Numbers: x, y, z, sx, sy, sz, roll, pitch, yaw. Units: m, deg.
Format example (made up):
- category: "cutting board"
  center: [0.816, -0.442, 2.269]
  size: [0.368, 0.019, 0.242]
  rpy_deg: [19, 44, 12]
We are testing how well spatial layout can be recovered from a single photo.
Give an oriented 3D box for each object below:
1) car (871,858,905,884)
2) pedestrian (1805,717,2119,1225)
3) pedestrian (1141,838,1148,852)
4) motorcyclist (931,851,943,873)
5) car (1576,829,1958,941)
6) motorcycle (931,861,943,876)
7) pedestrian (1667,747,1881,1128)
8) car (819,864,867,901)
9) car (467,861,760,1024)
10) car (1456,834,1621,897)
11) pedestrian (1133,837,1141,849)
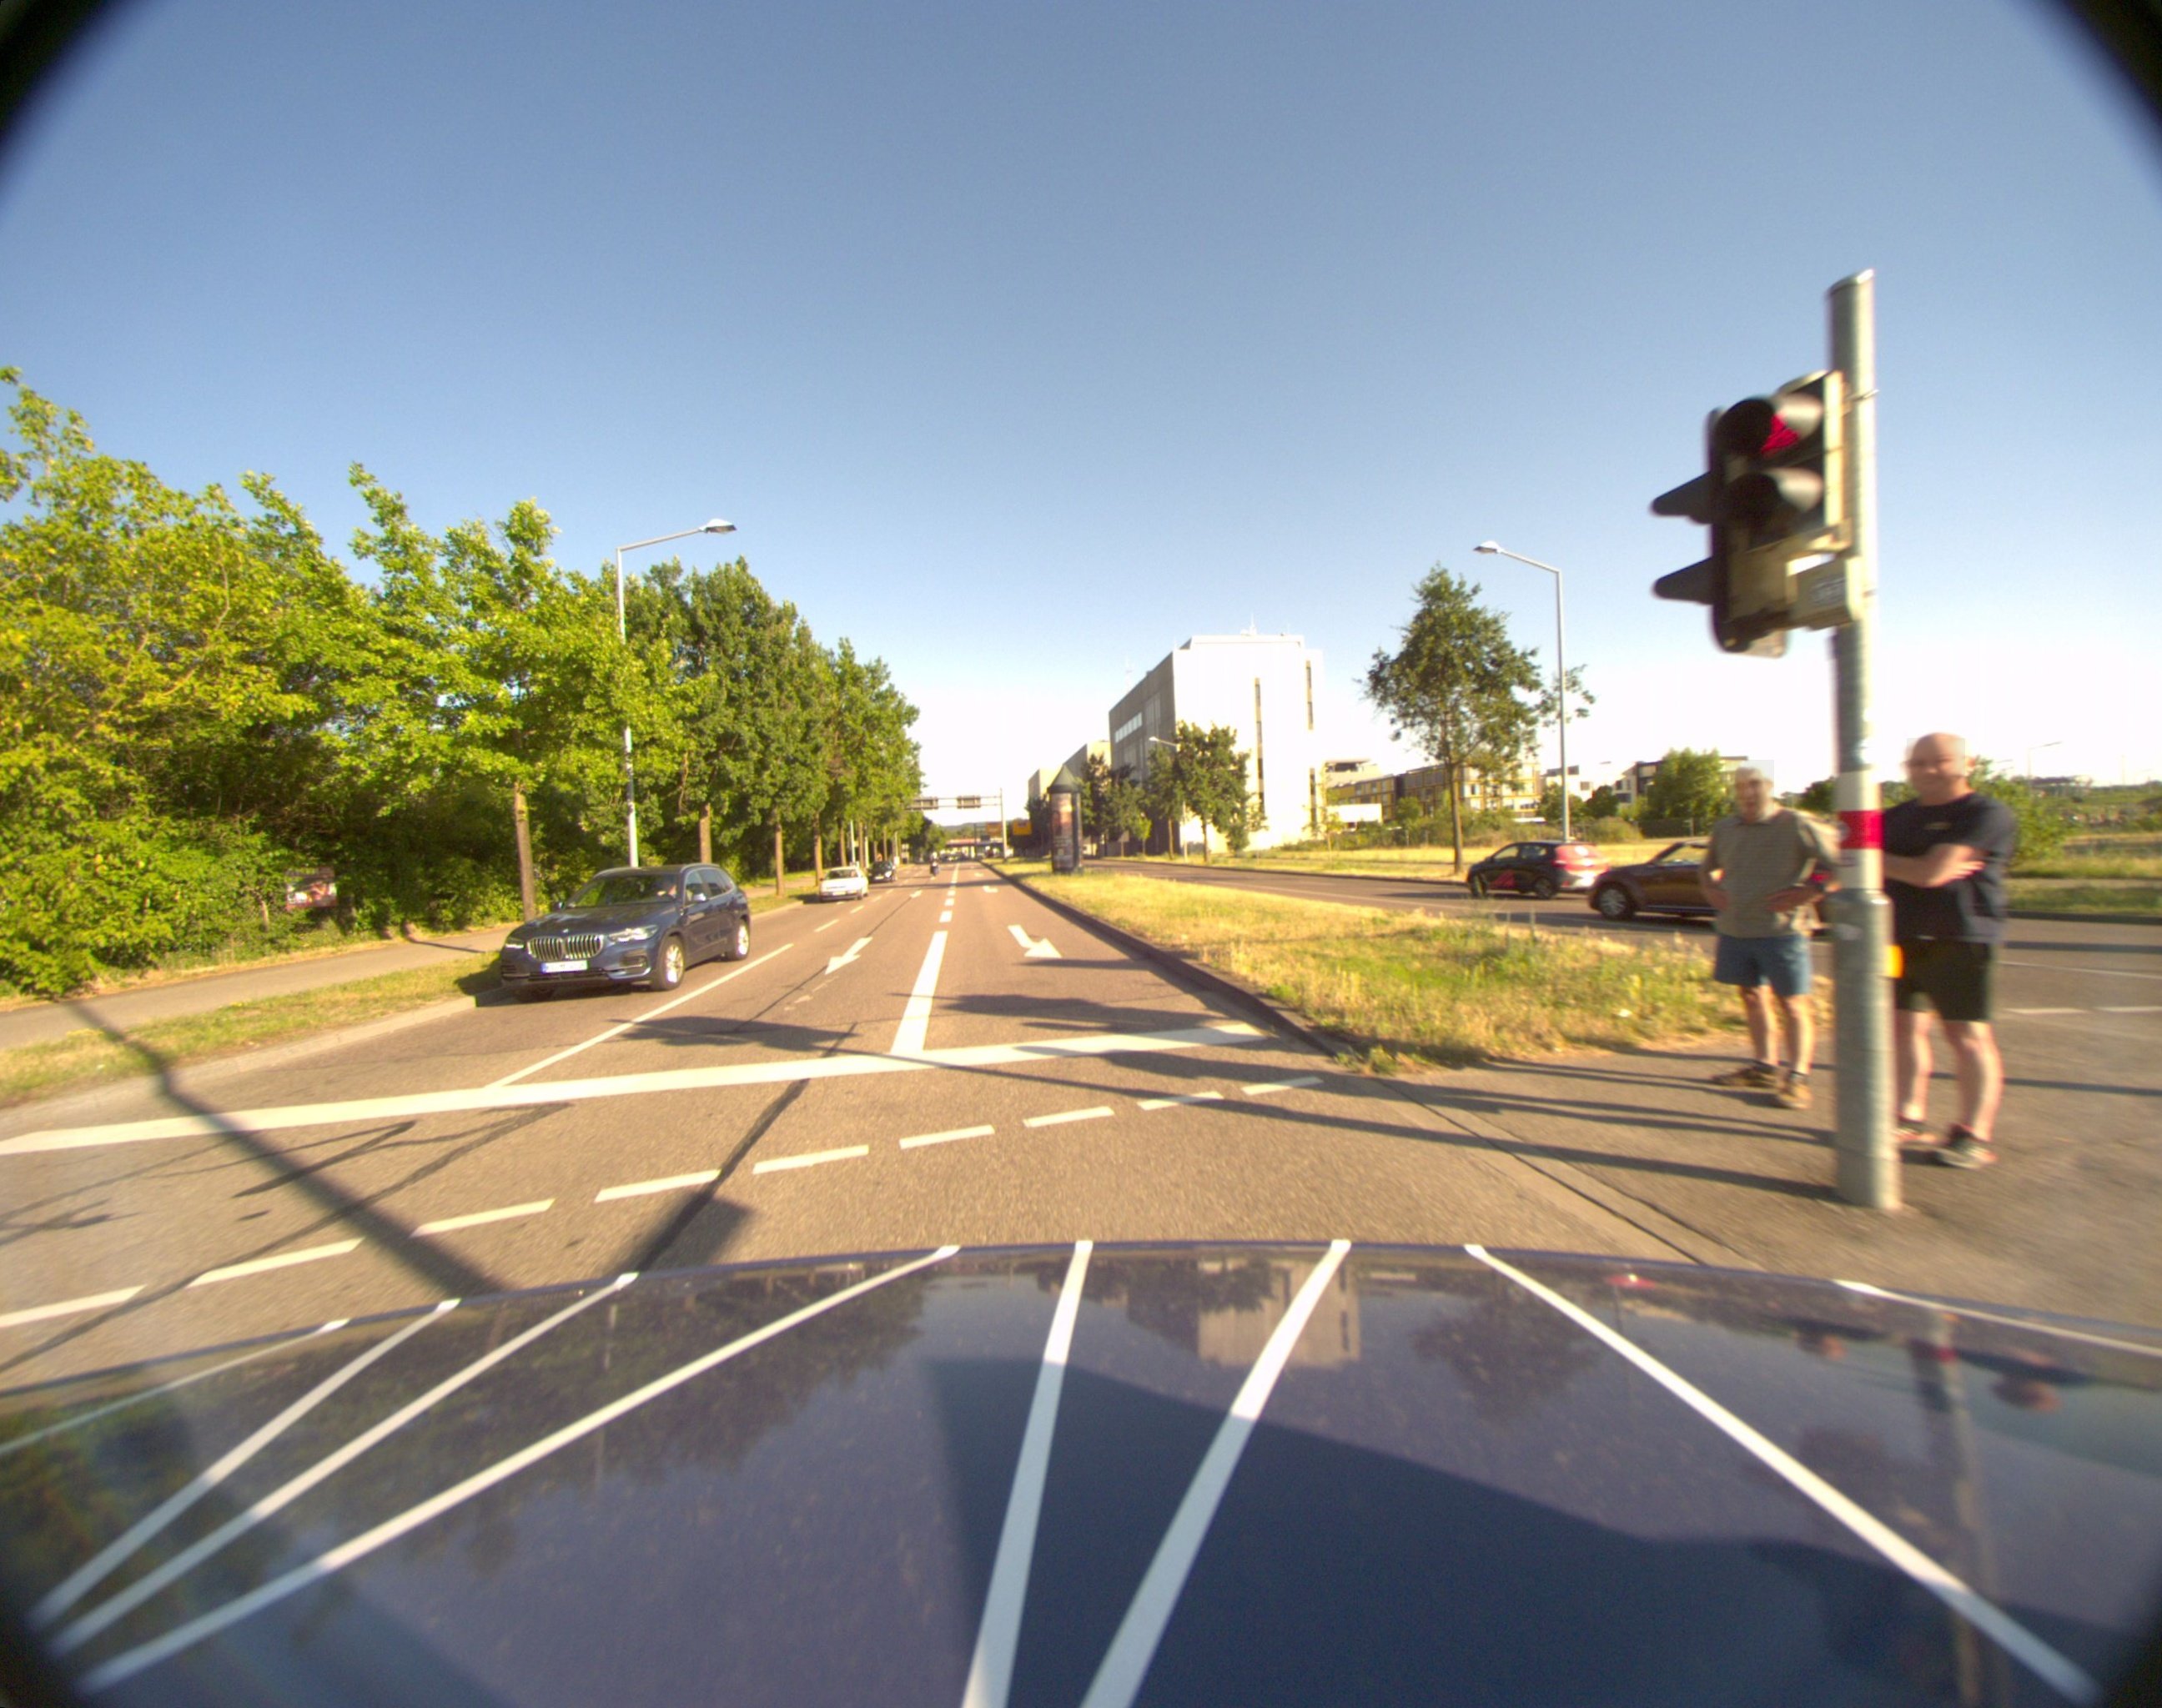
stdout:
- category: "car"
  center: [-12.696, 1.119, 50.106]
  size: [1.727, 1.490, 4.211]
  rpy_deg: [-4, 0, -9]
- category: "pedestrian"
  center: [3.539, 0.424, 3.102]
  size: [0.487, 1.833, 0.671]
  rpy_deg: [-3, 2, -5]
- category: "pedestrian"
  center: [8.264, -1.209, 98.957]
  size: [0.634, 1.831, 0.716]
  rpy_deg: [-3, 1, -8]
- category: "motorcyclist"
  center: [-10.241, 0.580, 54.133]
  size: [0.735, 1.503, 0.918]
  rpy_deg: [-3, 1, -10]
- category: "car"
  center: [10.155, 0.382, 11.741]
  size: [1.673, 1.368, 4.143]
  rpy_deg: [-2, 1, -14]
- category: "motorcycle"
  center: [-10.212, 0.998, 54.020]
  size: [0.749, 0.978, 2.138]
  rpy_deg: [-3, 1, -10]
- category: "pedestrian"
  center: [3.634, 0.411, 4.045]
  size: [0.486, 1.833, 0.720]
  rpy_deg: [-3, 1, 12]
- category: "car"
  center: [-10.156, 1.189, 32.624]
  size: [1.616, 1.390, 4.034]
  rpy_deg: [-4, 0, -14]
- category: "car"
  center: [-6.716, 1.096, 11.689]
  size: [1.961, 1.717, 4.695]
  rpy_deg: [-4, 2, -7]
- category: "car"
  center: [11.769, 0.257, 19.826]
  size: [1.673, 1.433, 3.612]
  rpy_deg: [-2, 1, -11]
- category: "pedestrian"
  center: [7.296, -1.463, 99.504]
  size: [0.778, 1.592, 0.908]
  rpy_deg: [-3, 1, -8]
